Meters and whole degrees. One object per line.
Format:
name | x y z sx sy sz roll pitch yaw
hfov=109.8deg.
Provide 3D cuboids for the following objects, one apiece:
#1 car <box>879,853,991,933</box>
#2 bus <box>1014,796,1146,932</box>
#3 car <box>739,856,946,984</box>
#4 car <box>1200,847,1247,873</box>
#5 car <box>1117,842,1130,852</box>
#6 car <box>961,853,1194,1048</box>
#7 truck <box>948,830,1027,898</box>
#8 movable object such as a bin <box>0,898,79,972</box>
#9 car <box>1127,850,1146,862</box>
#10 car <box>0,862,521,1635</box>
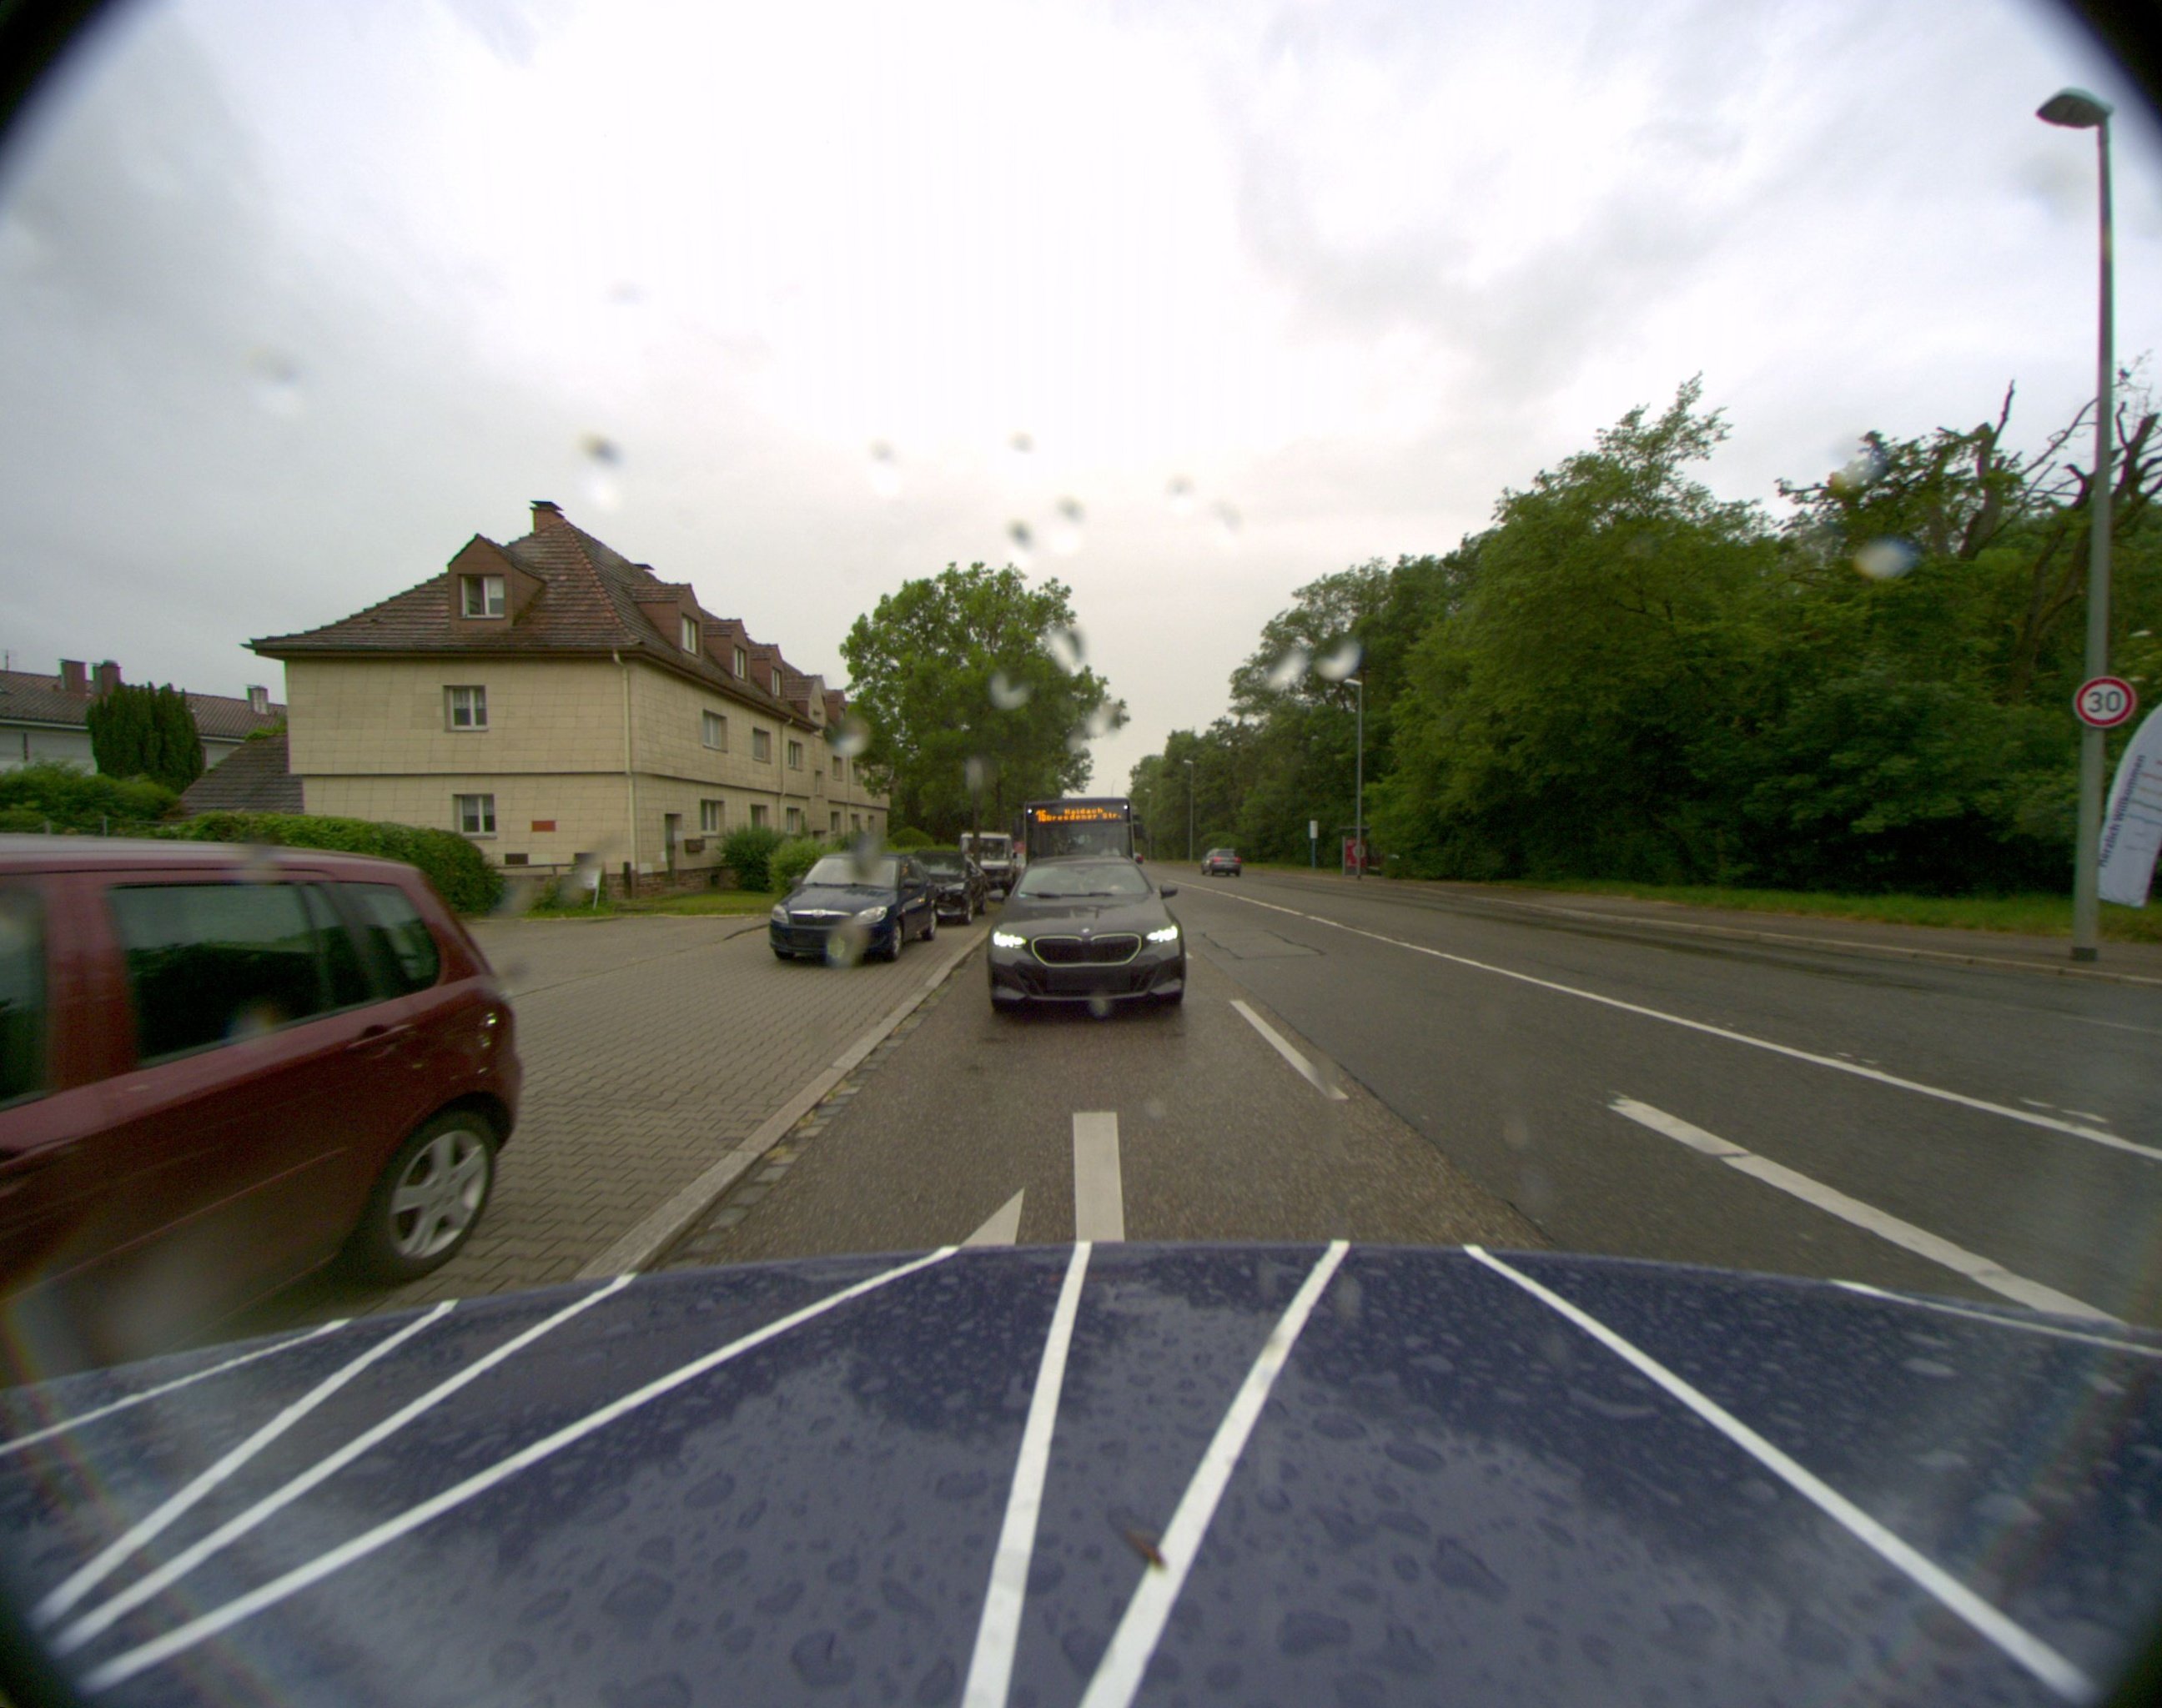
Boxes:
car | -3.047 0.746 16.595 1.720 1.456 3.999 1 1 -1
bus | 0.091 0.148 21.270 2.767 2.858 9.402 -2 1 1
car | -3.214 0.797 11.101 1.720 1.416 3.999 1 1 0
car | 8.793 0.335 47.262 1.913 1.581 4.316 0 1 -2
car | 6.347 -0.999 112.950 1.599 1.420 3.904 0 1 -2
car | -0.009 0.812 8.561 1.882 1.520 4.316 -3 1 0
truck | -3.214 0.300 27.387 1.998 2.184 5.755 0 0 1
movable object such as a bin | -14.270 1.093 10.358 0.540 0.937 0.448 -3 1 -4
car | 7.236 0.258 99.891 1.915 1.445 4.947 3 1 -1
car | -3.019 0.891 1.118 1.615 1.495 3.754 -2 3 -2
